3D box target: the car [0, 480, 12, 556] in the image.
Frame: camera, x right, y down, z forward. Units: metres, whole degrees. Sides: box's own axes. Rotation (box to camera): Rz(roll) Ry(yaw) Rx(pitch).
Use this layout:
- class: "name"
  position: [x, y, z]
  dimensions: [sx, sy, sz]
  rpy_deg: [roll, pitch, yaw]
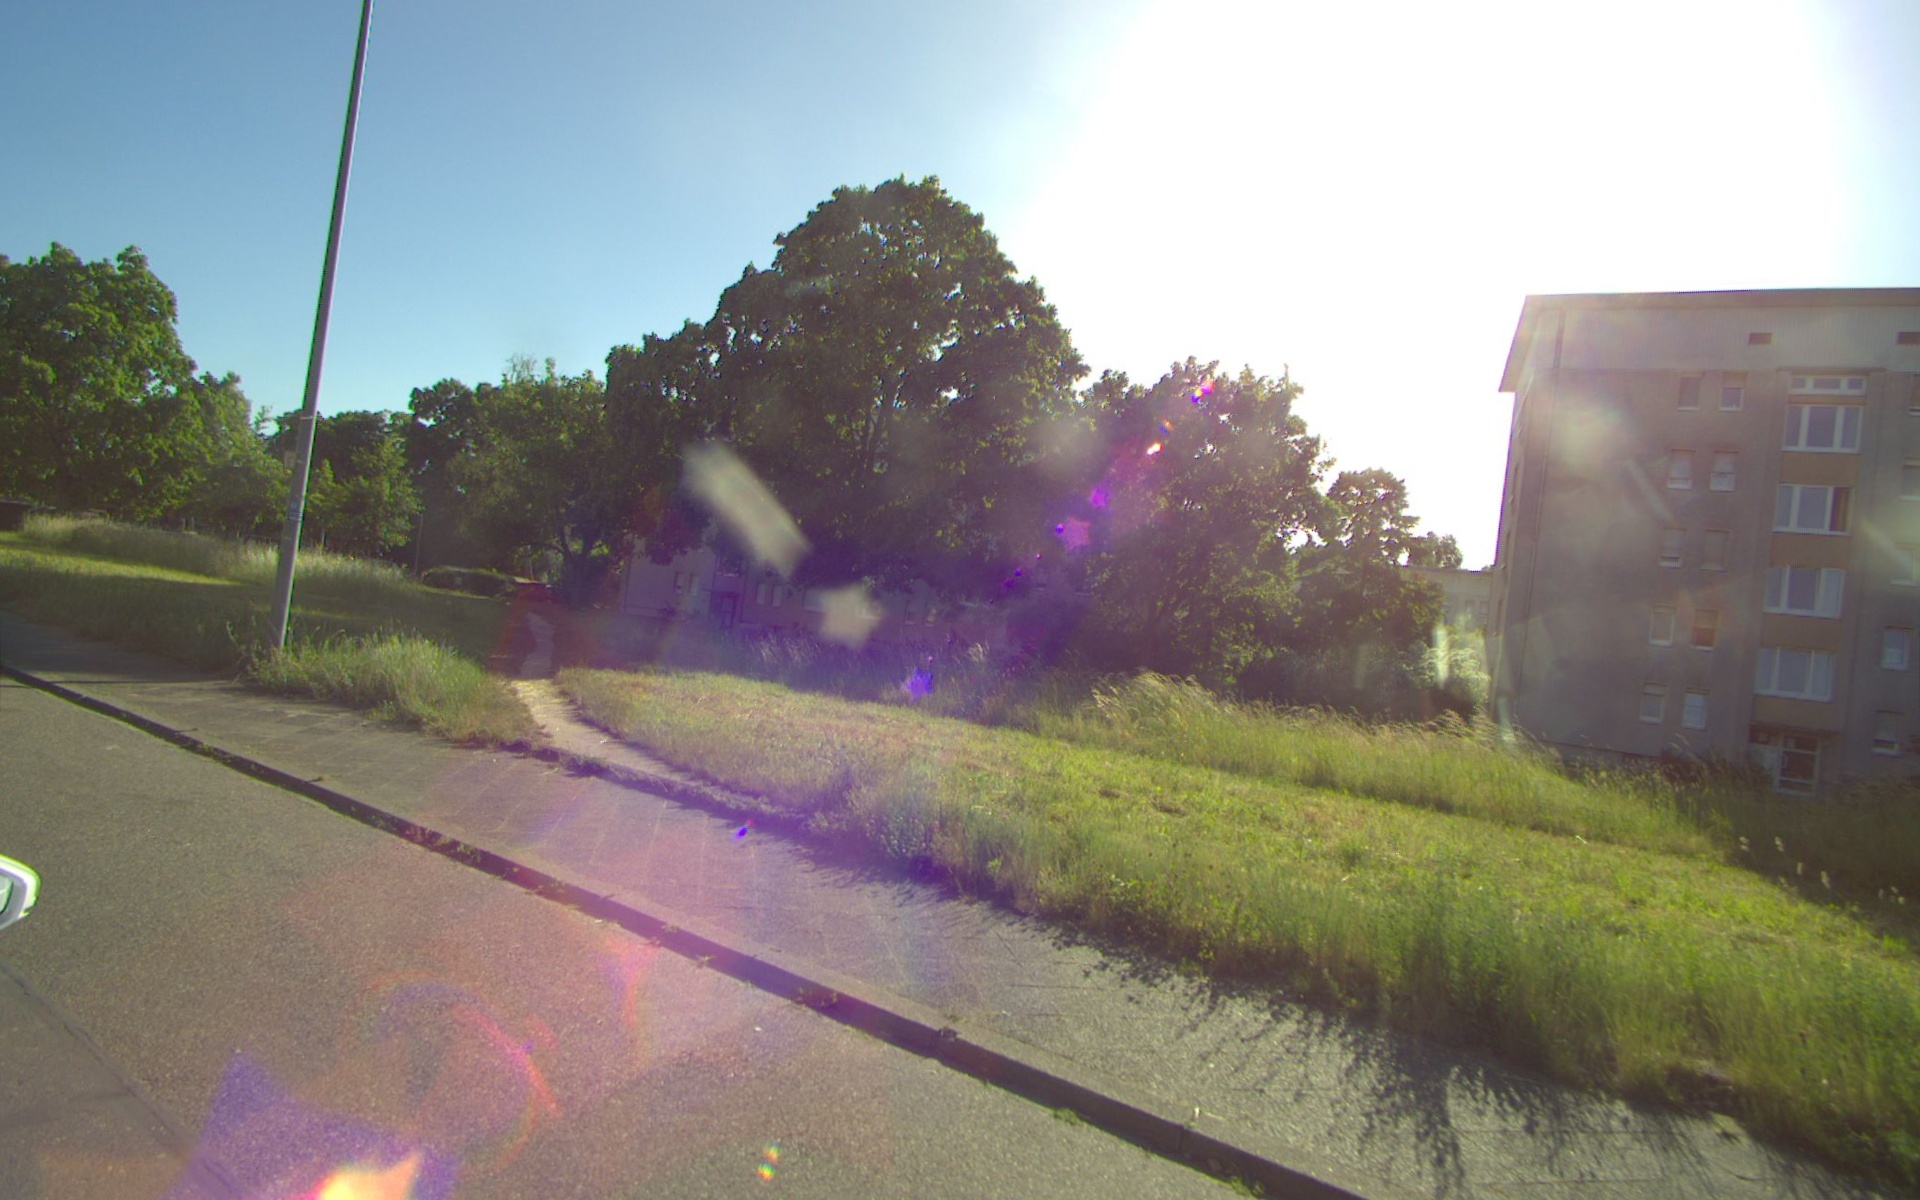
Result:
- class: "car"
  position: [-10.885, -0.508, 9.568]
  dimensions: [4.018, 1.749, 1.701]
  rpy_deg: [6, -3, 34]

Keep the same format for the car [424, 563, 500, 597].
- class: "car"
  position: [-36.658, -1.479, 74.140]
  dimensions: [1.974, 1.828, 4.447]
  rpy_deg: [6, -2, 43]

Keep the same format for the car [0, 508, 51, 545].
- class: "car"
  position: [-49.459, -3.934, 51.785]
  dimensions: [1.804, 1.596, 3.680]
  rpy_deg: [6, -3, 43]

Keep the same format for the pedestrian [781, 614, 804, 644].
- class: "pedestrian"
  position: [-8.965, 1.535, 53.759]
  dimensions: [0.754, 1.474, 0.757]
  rpy_deg: [7, -1, 21]

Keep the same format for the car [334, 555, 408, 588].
- class: "car"
  position: [-41.039, -1.979, 70.175]
  dimensions: [1.970, 1.629, 3.868]
  rpy_deg: [6, -3, 37]

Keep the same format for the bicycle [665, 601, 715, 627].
- class: "bicycle"
  position: [-16.501, 0.877, 61.503]
  dimensions: [2.645, 1.219, 0.942]
  rpy_deg: [7, -1, 9]

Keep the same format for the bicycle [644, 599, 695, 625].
- class: "bicycle"
  position: [-17.548, 0.720, 60.801]
  dimensions: [2.645, 1.219, 0.942]
  rpy_deg: [7, -1, 9]

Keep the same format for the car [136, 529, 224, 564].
- class: "car"
  position: [-47.967, -3.254, 61.896]
  dimensions: [1.761, 1.413, 3.866]
  rpy_deg: [8, -1, 39]

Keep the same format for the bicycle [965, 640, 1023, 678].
- class: "bicycle"
  position: [1.689, 2.974, 50.741]
  dimensions: [2.707, 1.543, 0.782]
  rpy_deg: [6, -1, 27]

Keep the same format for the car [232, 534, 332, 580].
- class: "car"
  position: [-41.159, -2.589, 61.160]
  dimensions: [2.244, 2.035, 4.498]
  rpy_deg: [6, -2, 43]

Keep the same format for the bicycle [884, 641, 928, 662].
- class: "bicycle"
  position: [-2.852, 2.715, 53.259]
  dimensions: [2.266, 0.821, 0.693]
  rpy_deg: [6, -2, 33]

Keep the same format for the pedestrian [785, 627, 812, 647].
- class: "pedestrian"
  position: [-8.080, 1.856, 50.208]
  dimensions: [0.986, 0.858, 0.745]
  rpy_deg: [7, -1, 25]
